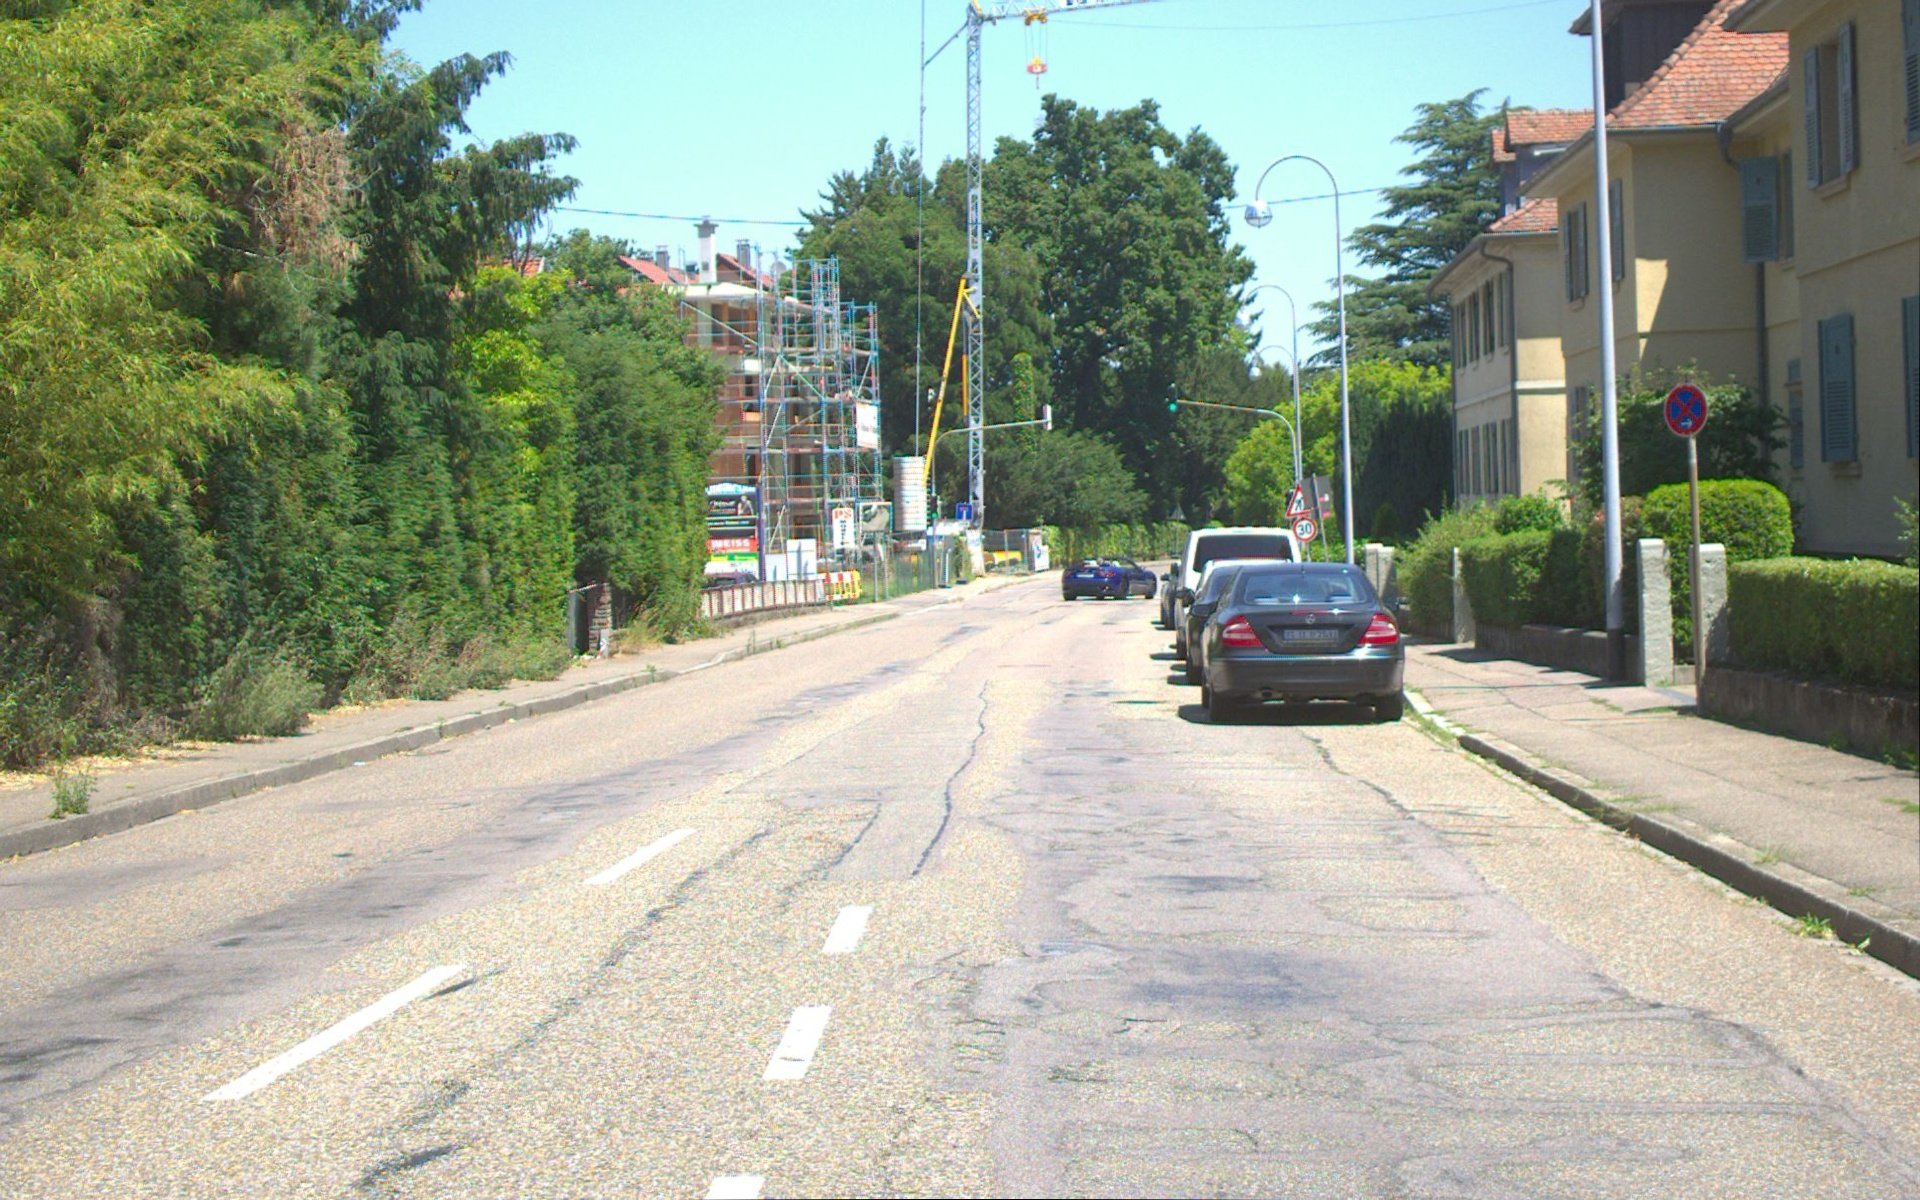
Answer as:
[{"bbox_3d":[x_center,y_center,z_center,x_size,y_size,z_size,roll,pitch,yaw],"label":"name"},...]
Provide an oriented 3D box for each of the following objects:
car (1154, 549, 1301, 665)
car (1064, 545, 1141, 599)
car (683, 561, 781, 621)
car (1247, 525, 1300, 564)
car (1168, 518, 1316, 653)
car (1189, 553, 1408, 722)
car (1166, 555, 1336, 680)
[{"bbox_3d":[3.536,0.062,45.985,1.761,1.446,3.648,-1,1,2],"label":"car"},{"bbox_3d":[4.354,-0.870,104.527,1.959,1.463,3.999,-1,3,8],"label":"car"},{"bbox_3d":[-5.626,-0.231,85.297,1.660,1.384,3.533,-2,1,9],"label":"car"},{"bbox_3d":[13.951,-2.465,152.876,1.994,1.656,3.998,-2,1,10],"label":"car"},{"bbox_3d":[4.155,-0.239,51.325,1.994,1.894,4.822,1,1,2],"label":"car"},{"bbox_3d":[3.045,0.305,31.659,1.693,1.414,4.551,-1,0,2],"label":"car"},{"bbox_3d":[3.425,0.170,41.189,1.761,1.366,4.607,-1,1,2],"label":"car"}]
